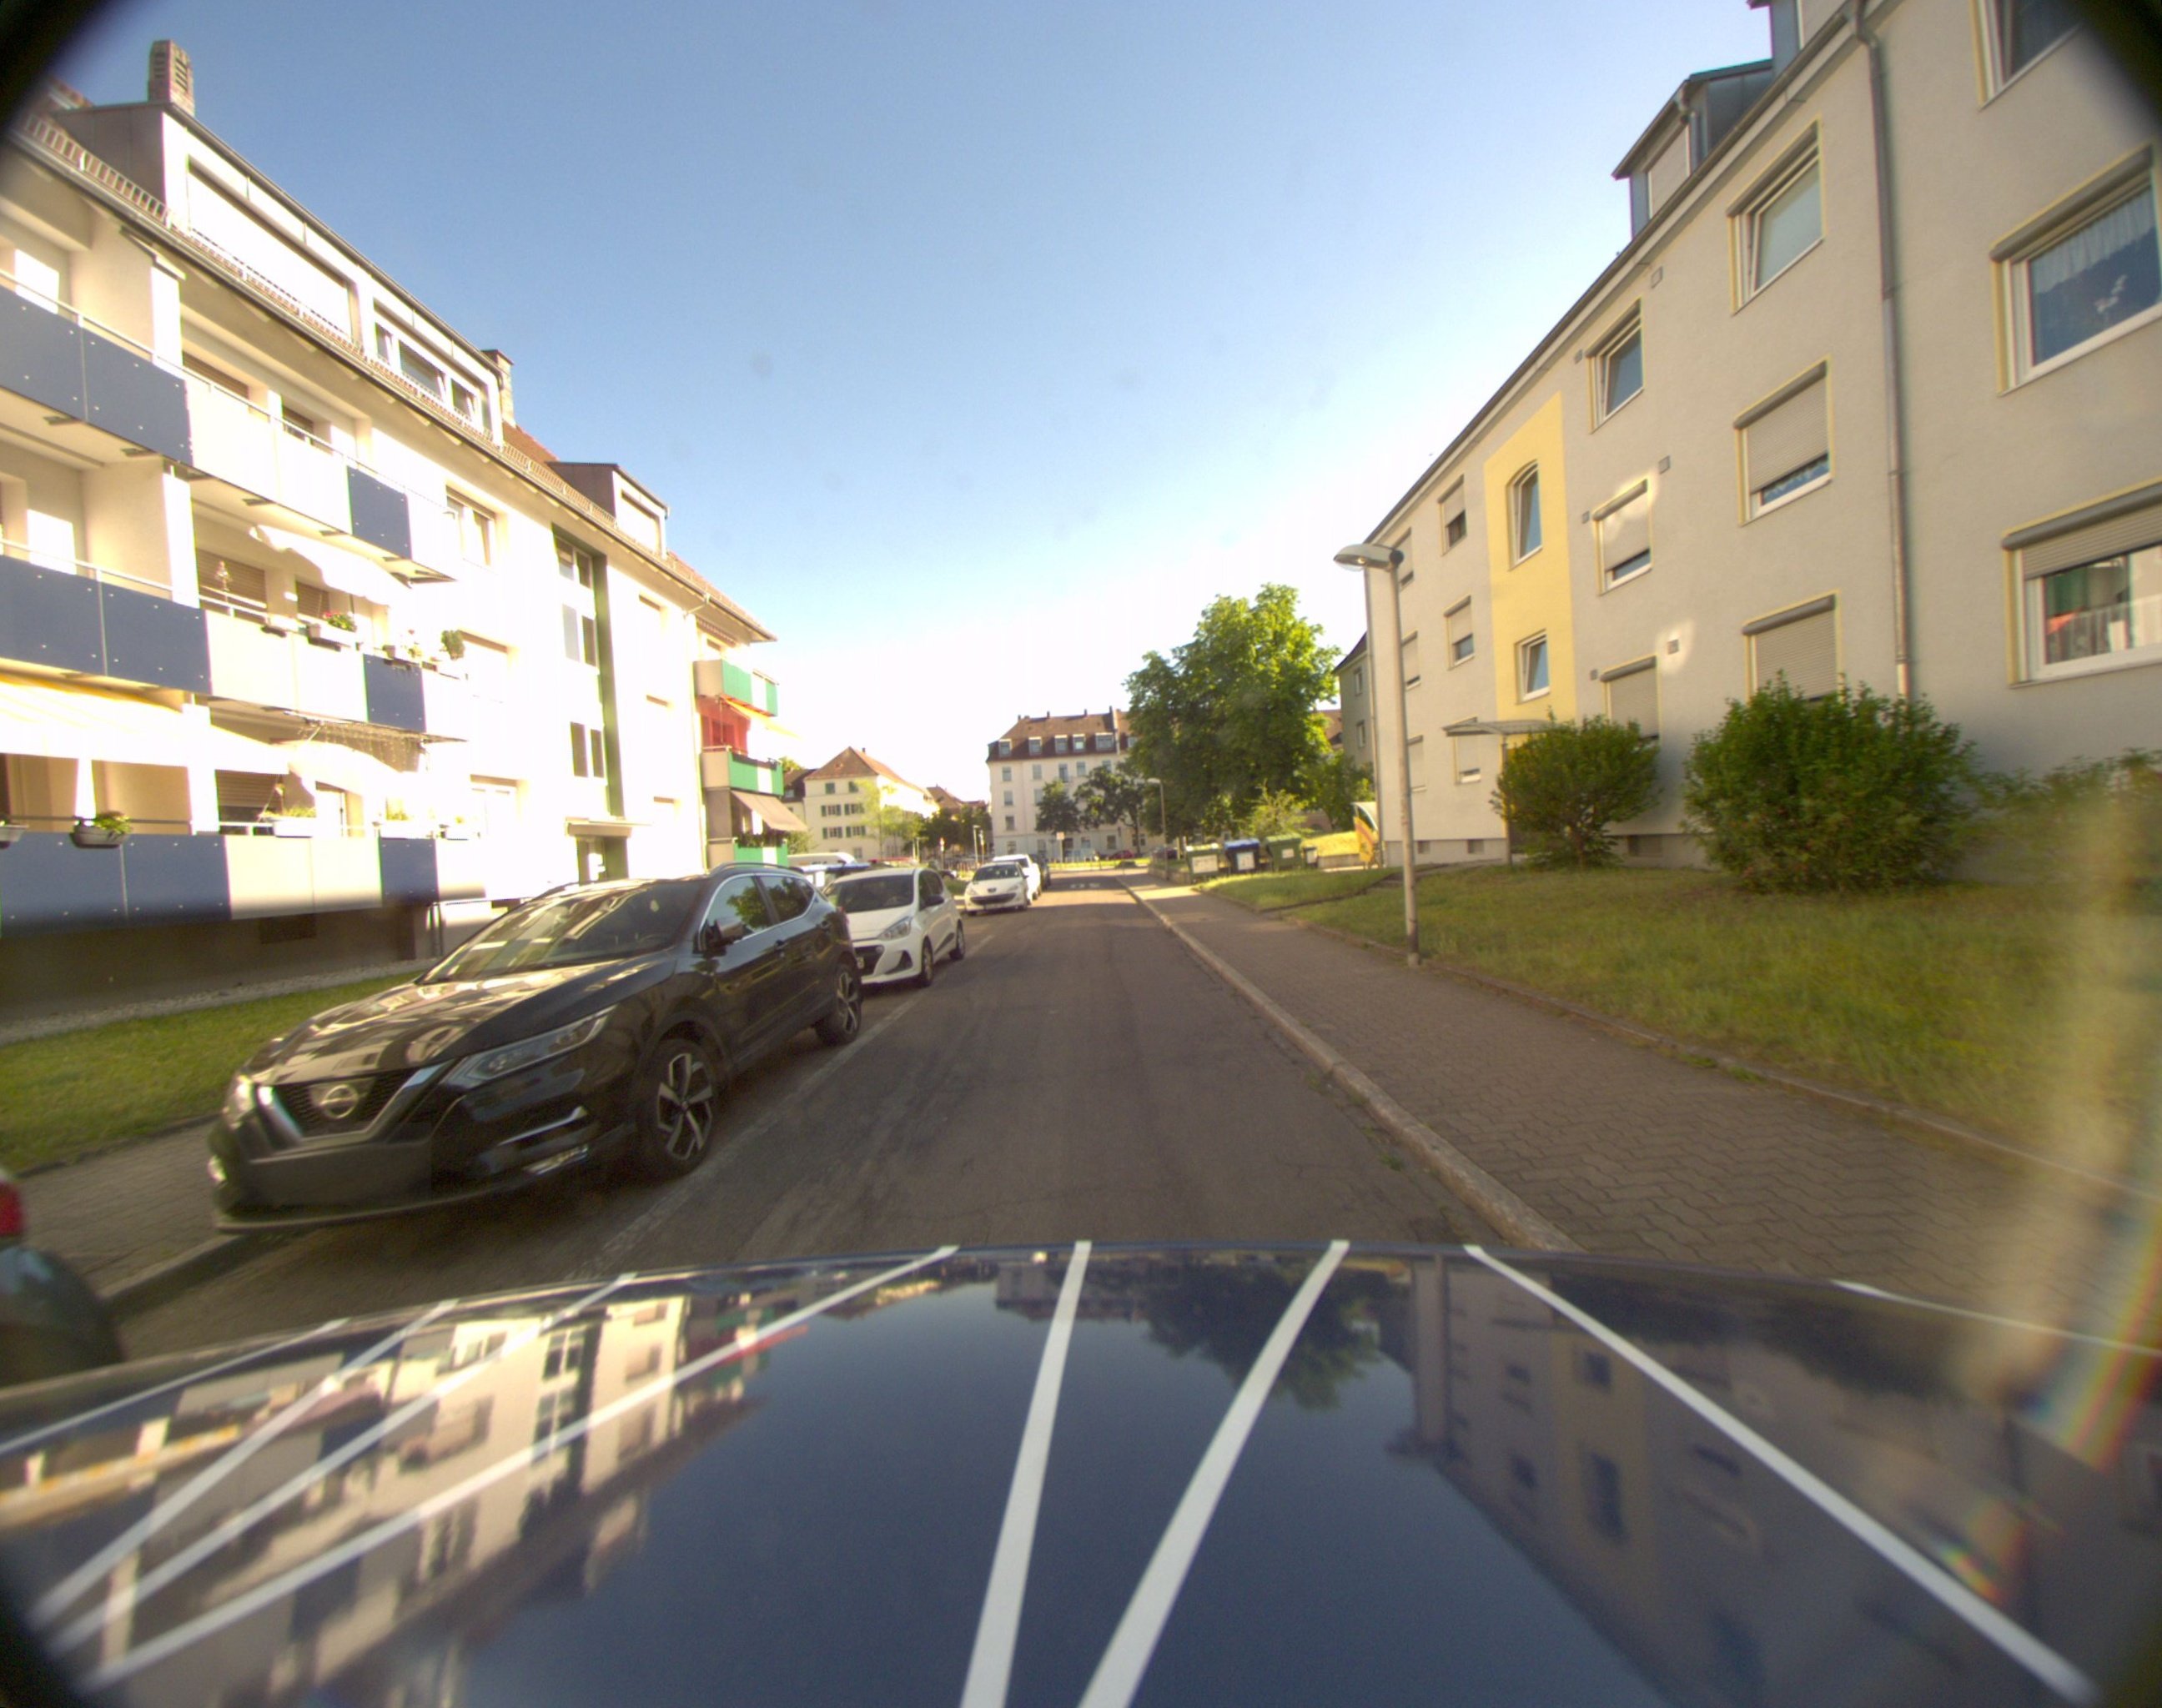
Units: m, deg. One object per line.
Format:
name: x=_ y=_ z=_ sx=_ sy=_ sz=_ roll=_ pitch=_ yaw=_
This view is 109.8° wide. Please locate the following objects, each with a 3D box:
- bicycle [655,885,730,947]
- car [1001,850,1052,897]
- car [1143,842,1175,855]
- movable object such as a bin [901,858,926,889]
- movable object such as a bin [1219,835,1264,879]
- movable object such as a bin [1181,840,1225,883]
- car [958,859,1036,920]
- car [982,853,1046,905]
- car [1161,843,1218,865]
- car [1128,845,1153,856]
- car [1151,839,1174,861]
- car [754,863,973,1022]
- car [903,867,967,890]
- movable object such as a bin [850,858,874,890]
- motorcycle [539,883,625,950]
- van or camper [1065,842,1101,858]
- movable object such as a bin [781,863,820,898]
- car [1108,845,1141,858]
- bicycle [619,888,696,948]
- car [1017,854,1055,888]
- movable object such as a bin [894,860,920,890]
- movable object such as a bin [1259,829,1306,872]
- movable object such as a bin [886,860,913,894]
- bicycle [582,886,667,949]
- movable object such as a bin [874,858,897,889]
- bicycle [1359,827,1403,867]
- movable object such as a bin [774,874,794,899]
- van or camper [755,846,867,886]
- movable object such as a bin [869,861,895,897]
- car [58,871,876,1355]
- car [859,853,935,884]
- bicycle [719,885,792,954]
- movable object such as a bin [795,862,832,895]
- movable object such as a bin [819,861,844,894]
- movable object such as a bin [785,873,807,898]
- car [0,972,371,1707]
bicycle: x=-8.062 y=1.265 z=15.859 sx=0.545 sy=1.114 sz=1.872 roll=-2 pitch=1 yaw=0
car: x=-2.430 y=0.819 z=34.849 sx=1.855 sy=1.790 sz=4.253 roll=-7 pitch=1 yaw=0
car: x=9.694 y=-0.690 z=94.125 sx=3.787 sy=1.437 sz=1.625 roll=-2 pitch=1 yaw=3
movable object such as a bin: x=-8.034 y=0.916 z=36.432 sx=0.921 sy=1.390 sz=0.866 roll=-3 pitch=1 yaw=-1
movable object such as a bin: x=6.104 y=0.107 z=28.963 sx=1.358 sy=1.451 sz=1.082 roll=-7 pitch=1 yaw=1
movable object such as a bin: x=4.619 y=0.275 z=28.915 sx=1.318 sy=1.451 sz=1.198 roll=-7 pitch=1 yaw=1
car: x=-2.362 y=0.970 z=22.331 sx=1.695 sy=1.410 sz=4.097 roll=-6 pitch=1 yaw=0
car: x=-2.364 y=0.838 z=27.912 sx=1.805 sy=1.583 sz=4.581 roll=-5 pitch=1 yaw=0
car: x=8.351 y=0.016 z=58.837 sx=4.140 sy=1.488 sz=1.729 roll=-2 pitch=1 yaw=1
car: x=7.810 y=-0.459 z=99.799 sx=3.192 sy=1.311 sz=1.545 roll=-2 pitch=1 yaw=0
car: x=6.610 y=-0.318 z=62.011 sx=1.678 sy=1.645 sz=3.305 roll=-2 pitch=1 yaw=5
car: x=-2.686 y=1.008 z=10.348 sx=1.717 sy=1.501 sz=3.853 roll=-6 pitch=1 yaw=0
car: x=-10.162 y=1.697 z=53.013 sx=3.996 sy=1.342 sz=1.802 roll=-2 pitch=1 yaw=2
movable object such as a bin: x=-10.534 y=0.957 z=36.510 sx=0.866 sy=1.439 sz=0.922 roll=-2 pitch=1 yaw=-3
motorcycle: x=-10.506 y=1.275 z=16.097 sx=0.442 sy=1.231 sz=1.976 roll=-2 pitch=1 yaw=1
van or camper: x=0.229 y=-0.518 z=94.596 sx=4.355 sy=1.852 sz=1.999 roll=-2 pitch=1 yaw=-1
movable object such as a bin: x=-12.564 y=1.166 z=34.095 sx=1.239 sy=1.439 sz=1.278 roll=-2 pitch=1 yaw=-2
car: x=5.403 y=-0.334 z=94.212 sx=3.996 sy=1.477 sz=1.722 roll=-2 pitch=1 yaw=3
bicycle: x=-8.780 y=1.292 z=15.840 sx=0.539 sy=1.076 sz=1.872 roll=0 pitch=1 yaw=0
car: x=-2.356 y=0.846 z=40.471 sx=1.728 sy=1.528 sz=3.951 roll=-6 pitch=1 yaw=-1
movable object such as a bin: x=-8.052 y=0.956 z=35.207 sx=0.921 sy=1.318 sz=0.866 roll=-3 pitch=1 yaw=-1
movable object such as a bin: x=7.678 y=-0.148 z=28.964 sx=1.363 sy=1.445 sz=1.072 roll=-7 pitch=1 yaw=1
movable object such as a bin: x=-8.105 y=1.011 z=33.964 sx=0.921 sy=1.439 sz=0.866 roll=-3 pitch=1 yaw=-1
bicycle: x=-9.508 y=1.291 z=15.907 sx=0.598 sy=1.109 sz=1.872 roll=-3 pitch=1 yaw=0
movable object such as a bin: x=-9.421 y=0.949 z=36.649 sx=0.866 sy=1.439 sz=0.922 roll=-2 pitch=1 yaw=-3
bicycle: x=10.006 y=-0.239 z=25.398 sx=0.641 sy=1.243 sz=2.009 roll=-4 pitch=1 yaw=1
movable object such as a bin: x=-12.585 y=1.365 z=32.240 sx=0.628 sy=1.047 sz=0.580 roll=0 pitch=1 yaw=-2
van or camper: x=-19.007 y=0.838 z=53.698 sx=6.980 sy=2.486 sz=2.177 roll=-2 pitch=1 yaw=2
movable object such as a bin: x=-8.516 y=1.055 z=32.559 sx=0.866 sy=1.439 sz=0.922 roll=-2 pitch=1 yaw=-3
car: x=-2.827 y=1.002 z=4.962 sx=1.728 sy=1.569 sz=4.352 roll=-2 pitch=1 yaw=0
car: x=-13.664 y=1.041 z=56.667 sx=4.992 sy=2.002 sz=2.000 roll=-3 pitch=1 yaw=3
bicycle: x=-6.405 y=1.256 z=15.059 sx=0.546 sy=1.163 sz=1.873 roll=-1 pitch=1 yaw=2
movable object such as a bin: x=-12.471 y=1.113 z=35.503 sx=1.239 sy=1.439 sz=1.278 roll=-2 pitch=1 yaw=-2
movable object such as a bin: x=-12.019 y=1.107 z=36.653 sx=0.866 sy=1.511 sz=0.922 roll=-2 pitch=1 yaw=-1
movable object such as a bin: x=-12.355 y=1.347 z=32.951 sx=0.718 sy=1.047 sz=0.580 roll=0 pitch=1 yaw=-2
car: x=-2.987 y=1.147 z=0.126 sx=1.650 sy=1.441 sz=4.061 roll=-5 pitch=1 yaw=3
